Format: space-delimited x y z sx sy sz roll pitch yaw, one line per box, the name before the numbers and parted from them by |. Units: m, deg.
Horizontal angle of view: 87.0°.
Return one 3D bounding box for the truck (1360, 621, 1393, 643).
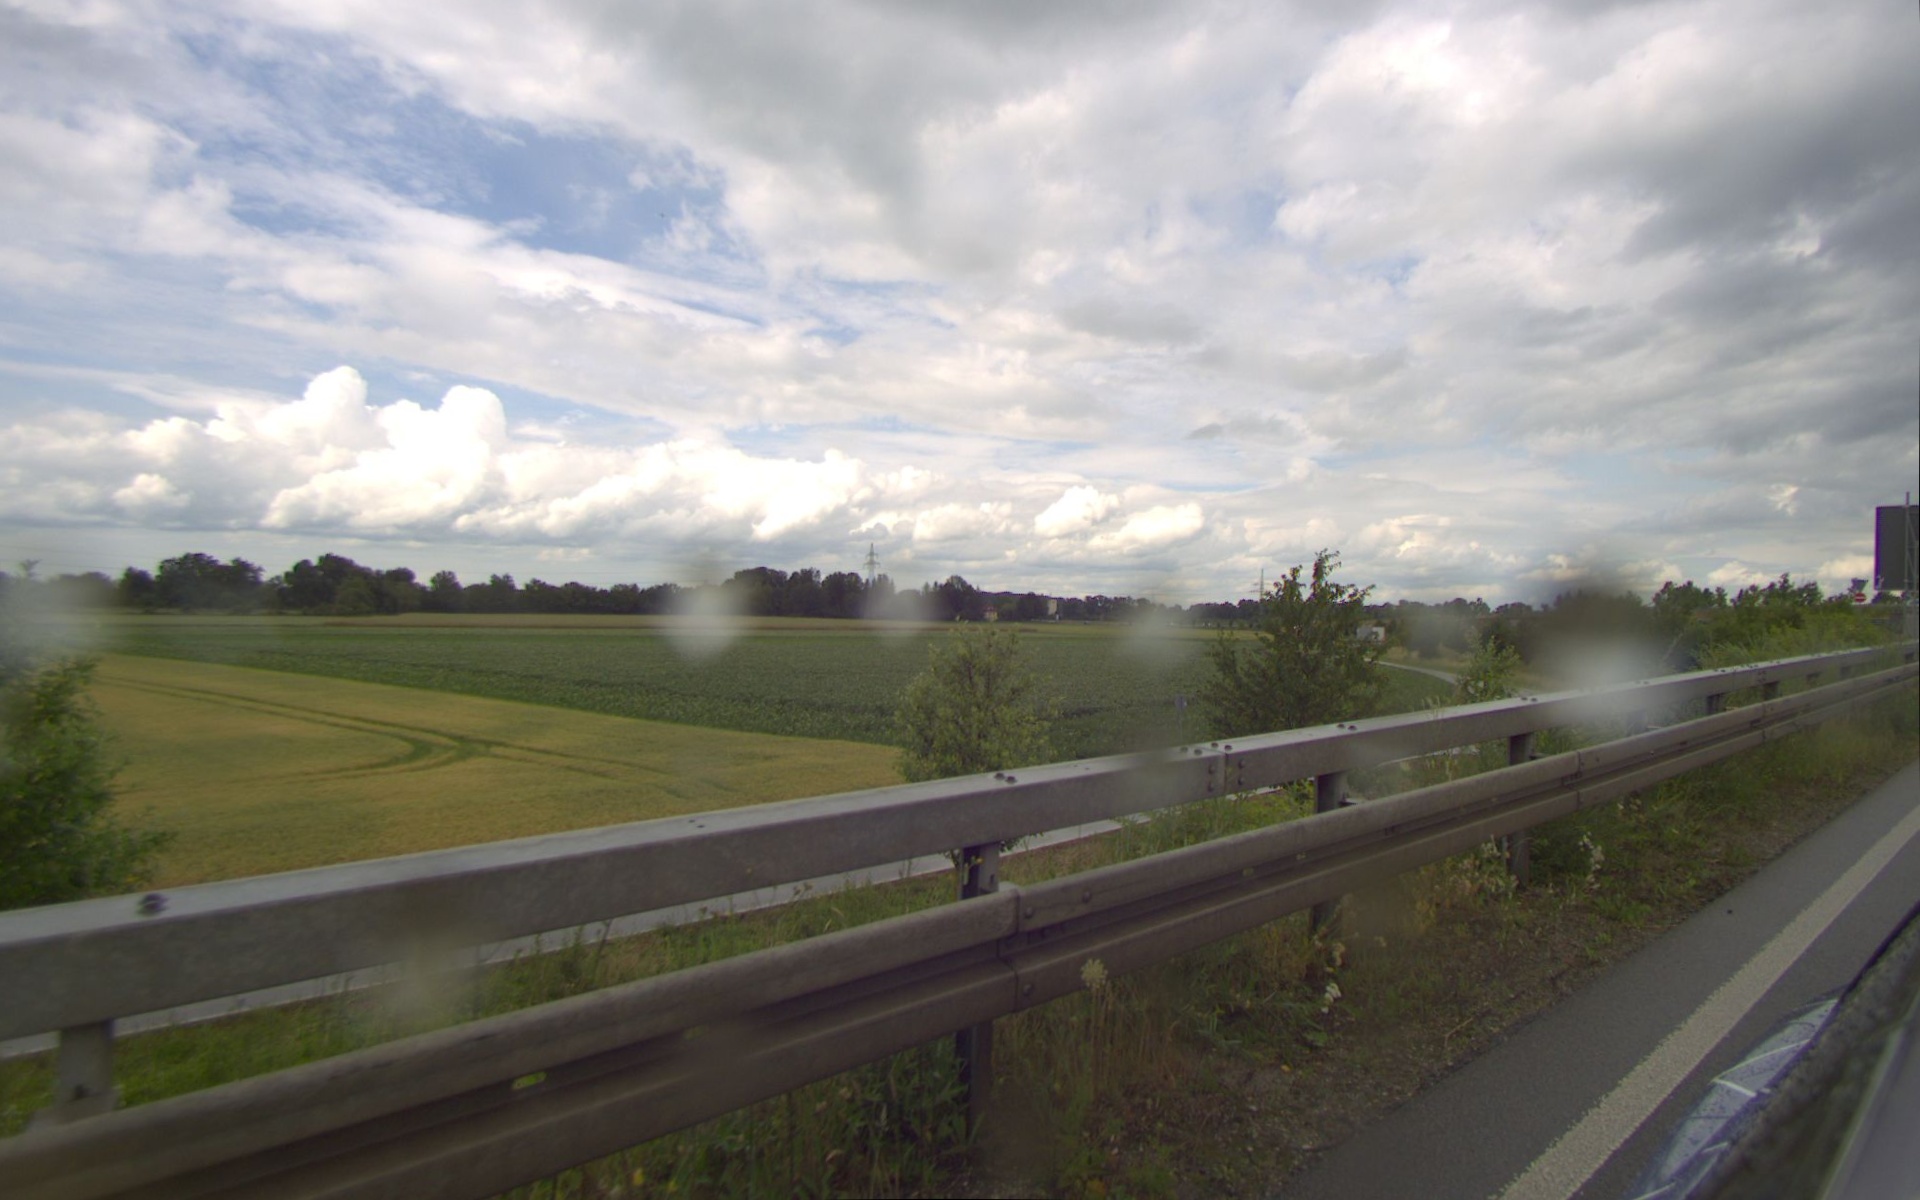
truck | 88.866 6.848 216.156 3.199 4.393 11.671 -1 0 6
